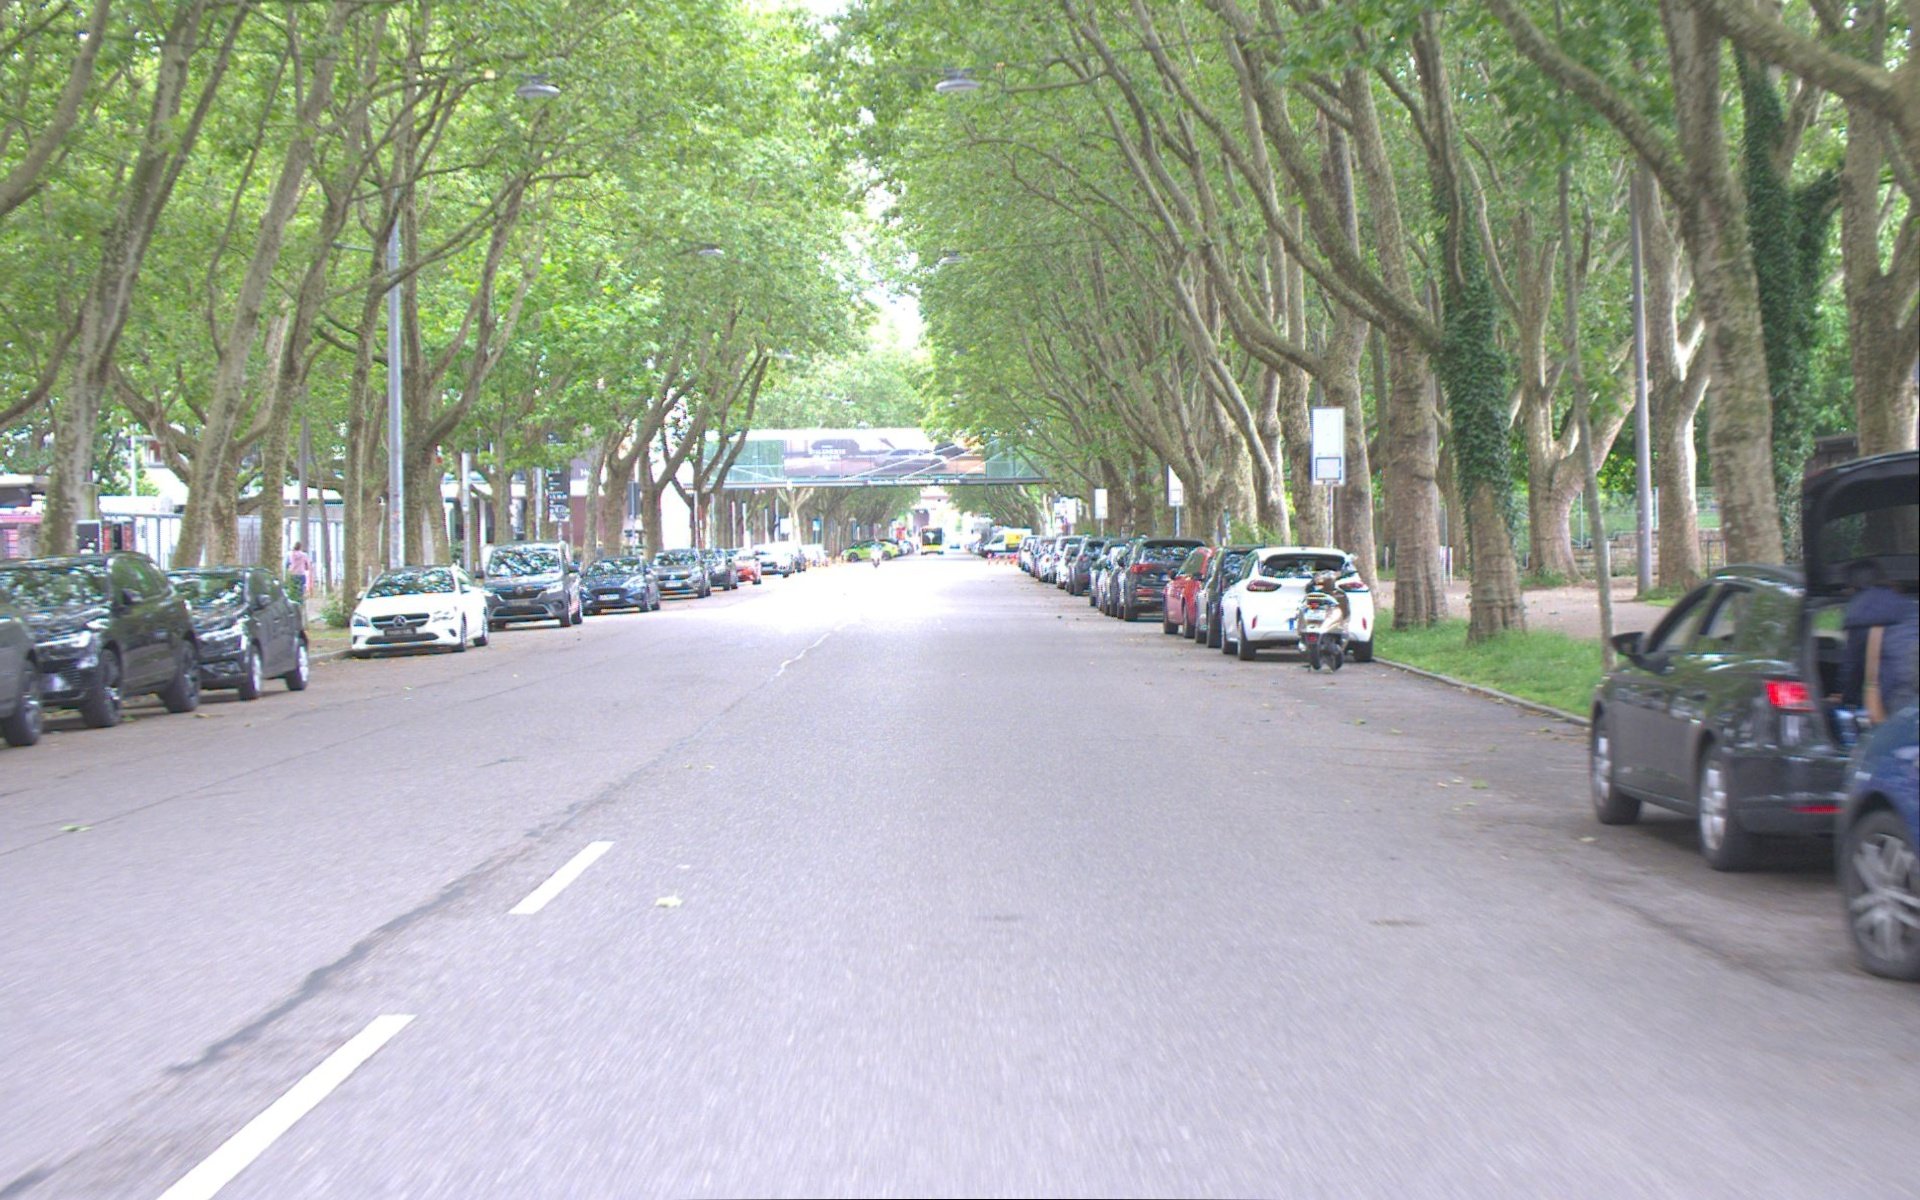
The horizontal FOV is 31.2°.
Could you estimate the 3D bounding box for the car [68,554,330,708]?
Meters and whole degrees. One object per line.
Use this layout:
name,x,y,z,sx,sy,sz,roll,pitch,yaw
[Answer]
car,-8.471,0.300,38.637,1.833,1.489,4.443,-4,1,0

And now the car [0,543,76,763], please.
car,-8.478,0.467,27.219,1.869,1.712,4.649,-4,1,-3

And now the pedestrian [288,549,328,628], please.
pedestrian,-14.563,-0.263,76.779,0.577,1.764,0.767,0,1,15

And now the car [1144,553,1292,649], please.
car,4.125,-0.018,55.558,1.716,1.433,4.630,1,1,-4

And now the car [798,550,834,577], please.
car,-8.907,-2.270,212.719,1.993,1.596,4.001,0,1,-5

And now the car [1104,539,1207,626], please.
car,3.777,-0.365,67.089,1.755,1.614,4.439,1,1,0

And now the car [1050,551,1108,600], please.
car,4.244,-0.889,123.240,1.903,1.733,4.506,0,1,0

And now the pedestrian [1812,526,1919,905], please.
pedestrian,4.161,0.486,15.099,0.633,1.621,0.742,-1,1,0

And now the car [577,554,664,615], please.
car,-8.640,-0.408,87.762,1.724,1.481,4.575,-1,1,0

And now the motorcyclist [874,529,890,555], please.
motorcyclist,-4.451,-3.293,195.619,0.870,1.475,1.265,-1,1,-3

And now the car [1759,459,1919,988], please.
car,4.270,0.453,10.867,1.841,1.777,4.448,1,1,-9

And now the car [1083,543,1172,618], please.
car,3.535,-0.430,73.071,1.668,1.504,4.354,1,1,0

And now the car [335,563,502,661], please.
car,-8.819,0.170,56.380,1.904,1.398,4.751,-4,1,0

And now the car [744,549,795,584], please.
car,-8.842,-1.562,159.675,2.073,1.557,4.756,-1,1,0

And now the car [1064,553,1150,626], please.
car,3.476,-0.271,82.065,1.777,1.667,4.638,-1,1,-1

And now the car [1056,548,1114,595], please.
car,3.953,-0.917,109.329,1.707,1.422,3.889,1,1,0

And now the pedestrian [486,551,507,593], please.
pedestrian,-18.255,-1.103,135.447,0.592,1.614,0.791,0,0,9

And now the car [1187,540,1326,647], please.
car,4.329,-0.121,50.693,1.730,1.465,4.080,2,1,1

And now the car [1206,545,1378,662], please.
car,4.292,0.013,44.999,1.735,1.433,4.123,-1,1,-1

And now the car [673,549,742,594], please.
car,-8.628,-0.991,117.784,1.827,1.460,4.627,-2,1,2

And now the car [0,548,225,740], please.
car,-8.675,0.394,33.083,1.937,1.637,4.928,-4,1,1

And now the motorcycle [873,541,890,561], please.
motorcycle,-4.459,-2.789,195.593,0.873,1.075,3.053,-1,1,-3

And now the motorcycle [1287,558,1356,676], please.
motorcycle,4.192,0.177,39.795,0.712,1.327,1.992,0,1,8

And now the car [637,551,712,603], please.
car,-8.746,-0.729,105.569,1.878,1.521,4.151,-2,1,0

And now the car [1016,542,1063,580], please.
car,3.364,-1.684,145.988,1.802,1.550,4.000,-1,1,-1

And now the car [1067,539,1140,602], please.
car,3.976,-0.846,96.142,1.707,1.692,4.631,1,1,-1

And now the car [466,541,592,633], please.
car,-8.727,-0.286,69.985,1.949,1.744,4.638,-2,1,0

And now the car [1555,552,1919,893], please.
car,4.382,0.513,17.270,1.993,1.473,4.371,1,1,0
